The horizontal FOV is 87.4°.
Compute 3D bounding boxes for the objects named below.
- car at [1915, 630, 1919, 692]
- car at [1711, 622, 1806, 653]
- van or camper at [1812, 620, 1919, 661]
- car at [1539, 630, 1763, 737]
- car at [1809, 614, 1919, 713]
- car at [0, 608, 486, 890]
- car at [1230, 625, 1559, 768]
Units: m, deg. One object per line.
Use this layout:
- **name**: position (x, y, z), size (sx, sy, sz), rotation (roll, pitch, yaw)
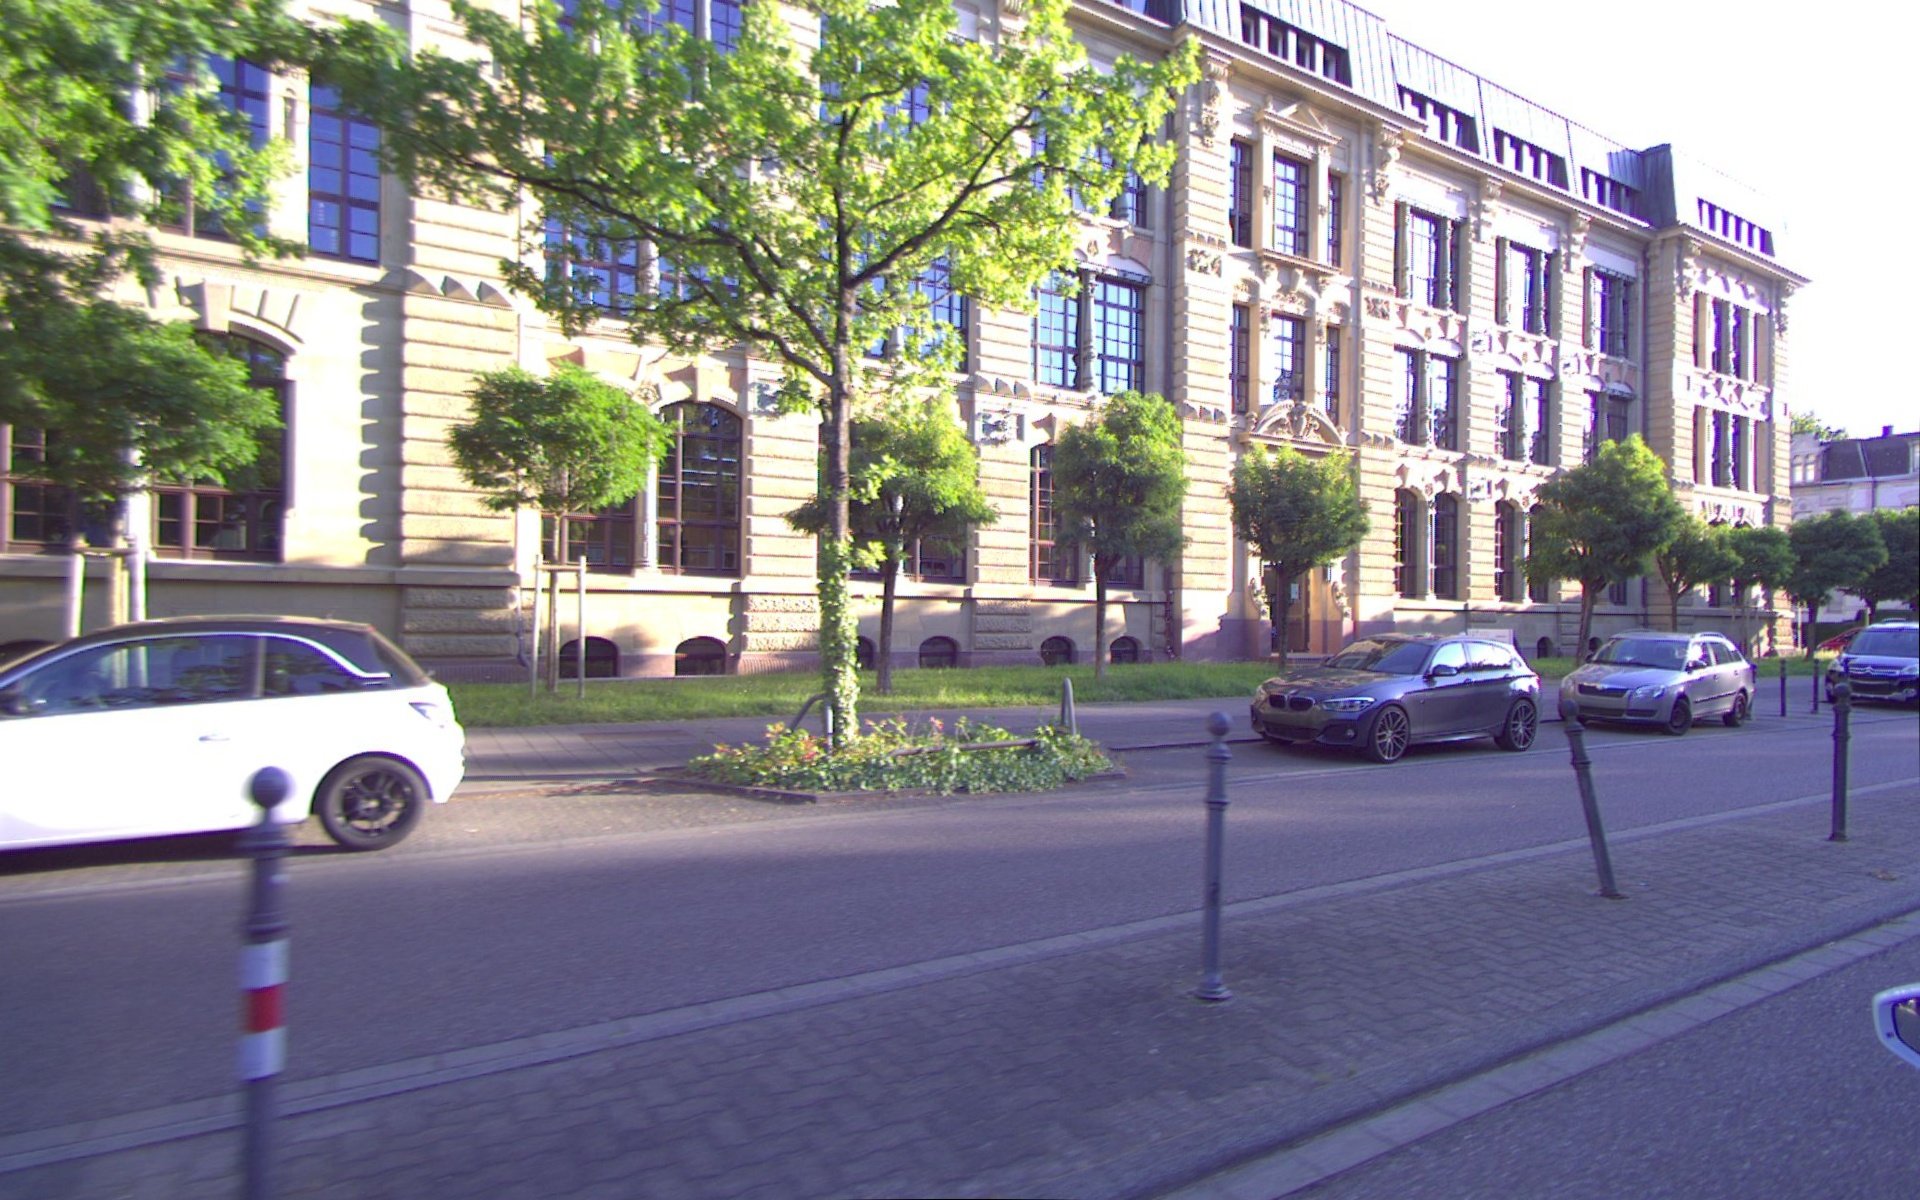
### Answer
- **car**: position (25.428, 1.555, 24.742), size (3.808, 1.490, 1.689), rotation (1, 1, -29)
- **car**: position (46.666, 2.178, 58.800), size (1.899, 1.696, 3.966), rotation (1, -1, -31)
- **van or camper**: position (49.401, 2.141, 54.240), size (1.975, 2.013, 4.749), rotation (-4, 1, -28)
- **car**: position (11.450, 1.277, 16.555), size (4.335, 1.516, 1.707), rotation (1, -1, -36)
- **car**: position (20.506, 1.309, 21.857), size (4.282, 1.891, 1.768), rotation (1, 1, -31)
- **car**: position (-5.222, 0.825, 6.364), size (3.880, 1.516, 1.609), rotation (1, -1, -31)
- **car**: position (5.557, 1.101, 12.680), size (4.327, 1.516, 1.609), rotation (1, -1, -31)
